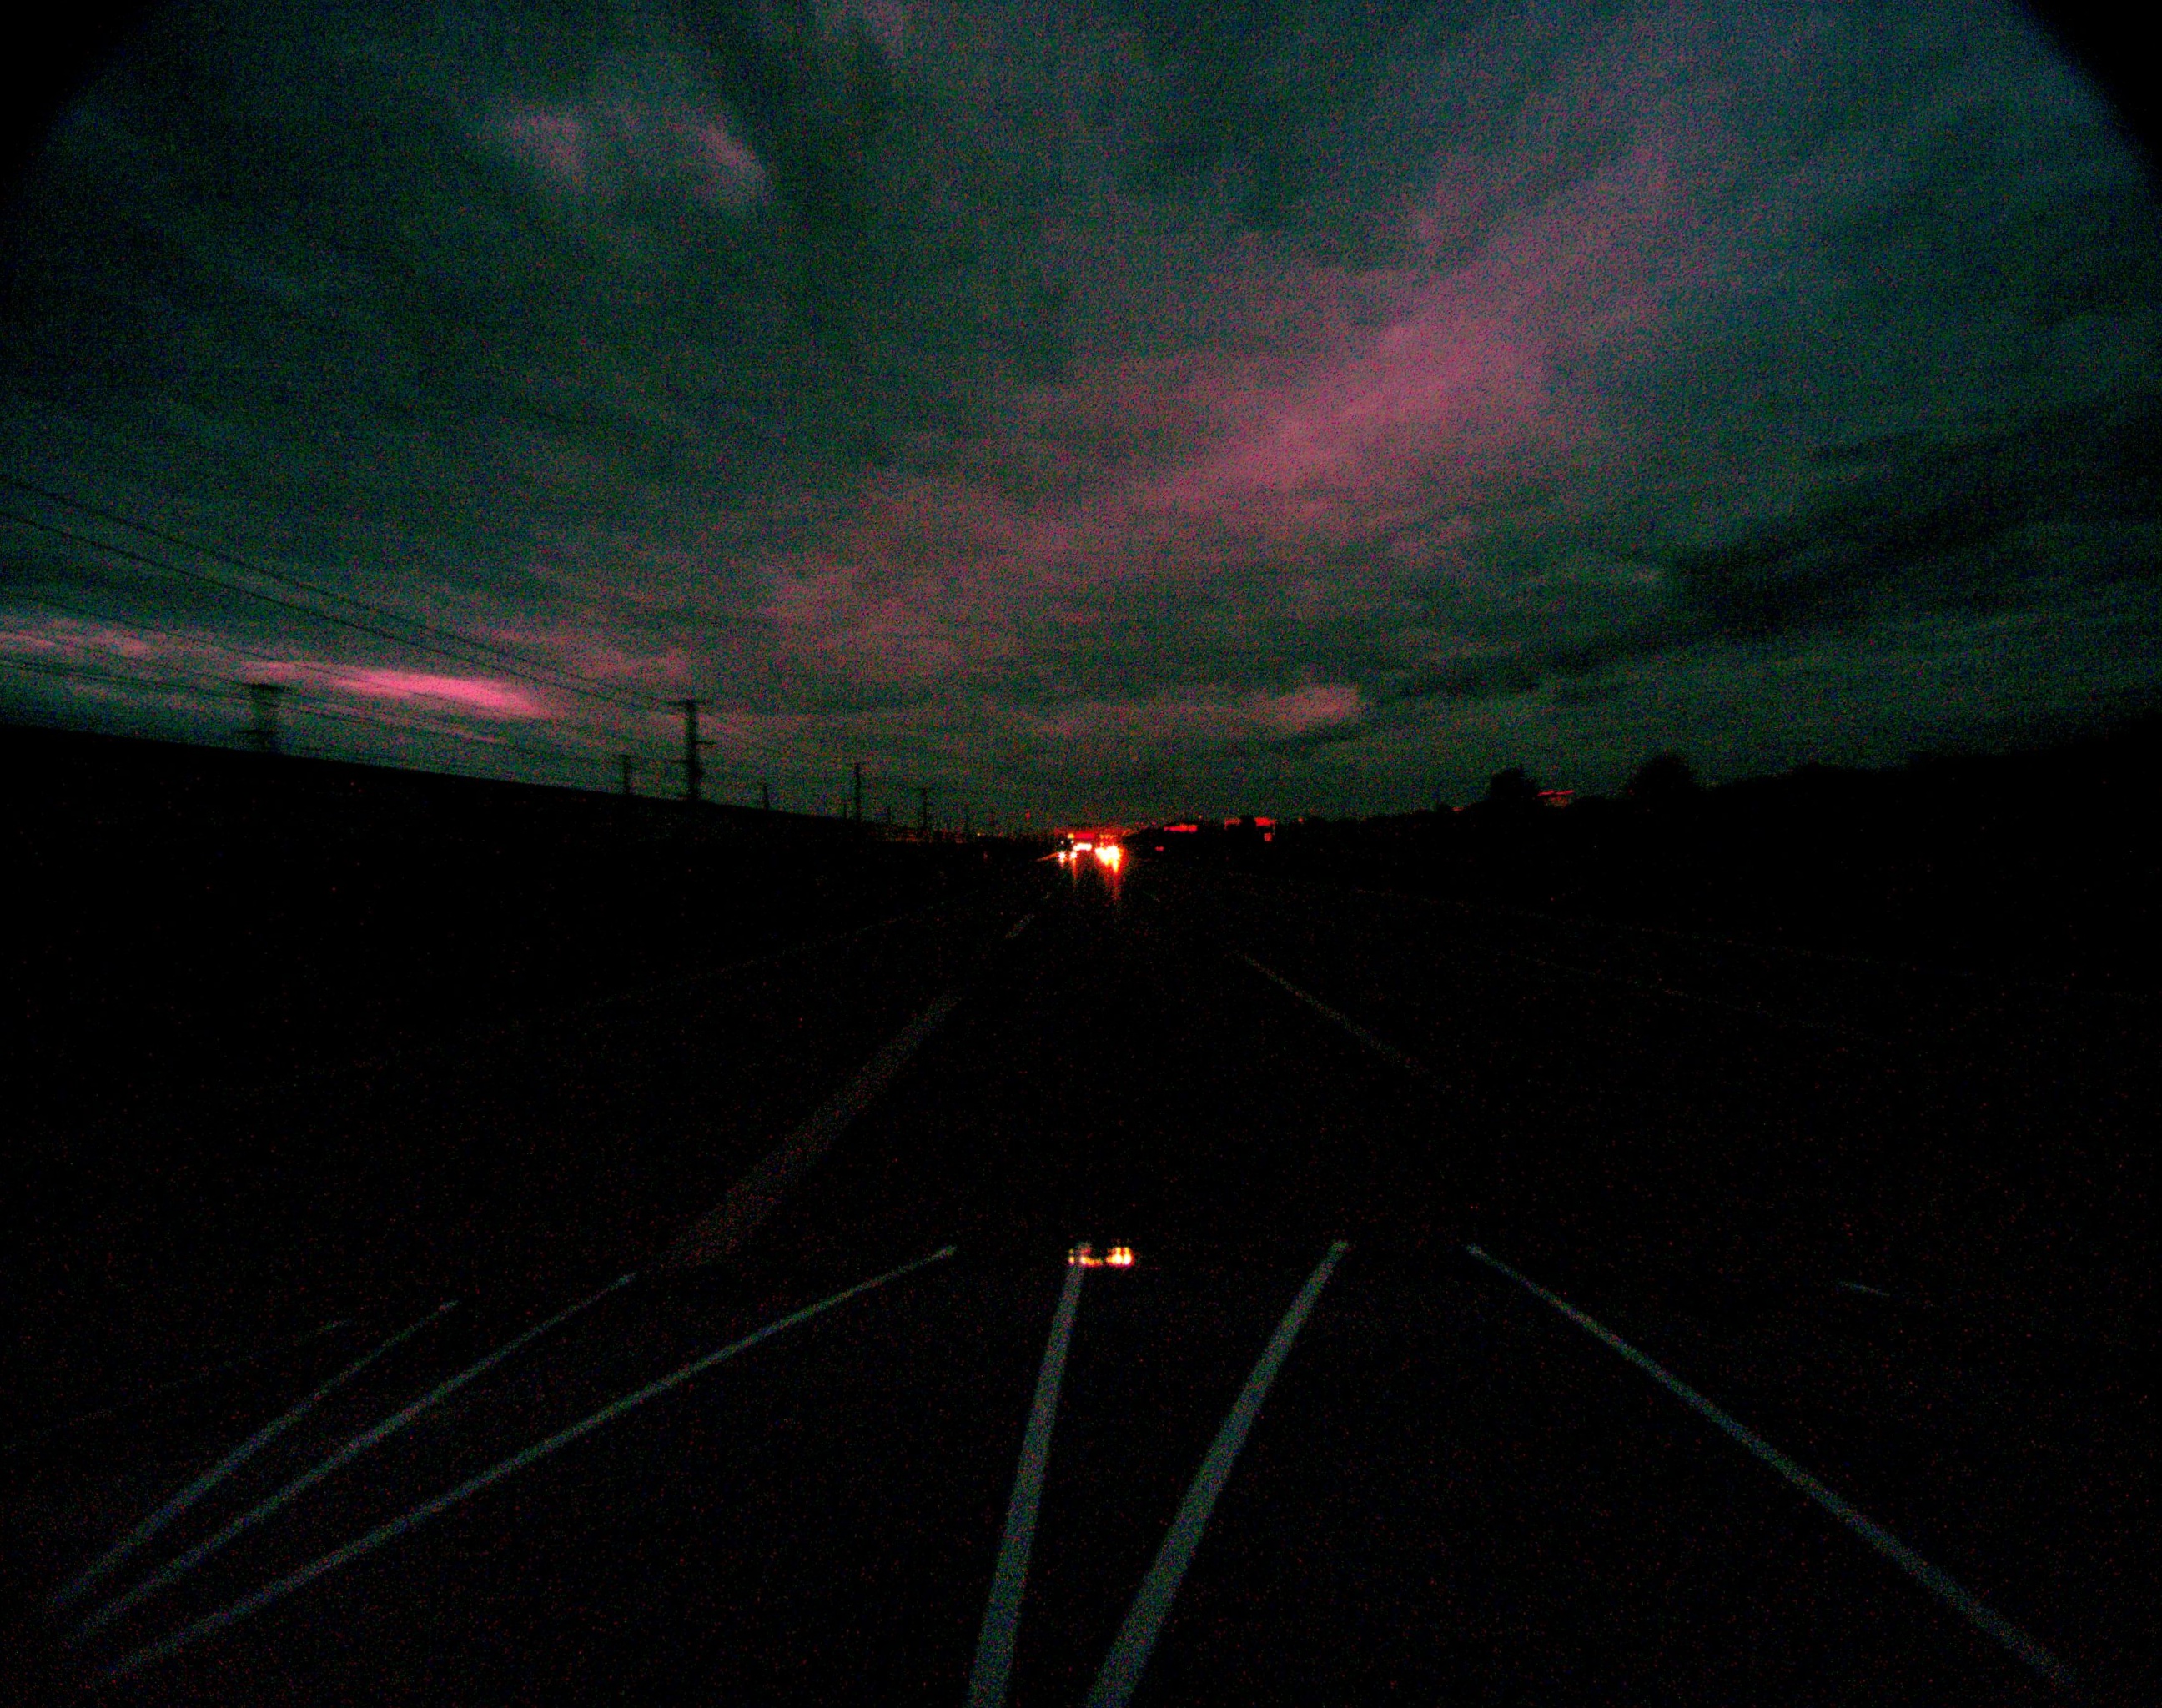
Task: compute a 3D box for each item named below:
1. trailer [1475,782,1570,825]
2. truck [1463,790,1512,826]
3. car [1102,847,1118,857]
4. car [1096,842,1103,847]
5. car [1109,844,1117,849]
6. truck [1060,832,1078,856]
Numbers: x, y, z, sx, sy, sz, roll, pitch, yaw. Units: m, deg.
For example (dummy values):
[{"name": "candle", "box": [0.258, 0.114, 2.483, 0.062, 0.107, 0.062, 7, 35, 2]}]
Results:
[{"name": "trailer", "box": [50.467, -5.644, 87.447, 2.698, 4.048, 12.485, -2, 1, -5]}, {"name": "truck", "box": [49.920, -5.599, 93.478, 2.698, 4.048, 5.474, -2, 1, -5]}, {"name": "car", "box": [4.281, -0.311, 112.433, 1.999, 1.342, 4.174, 3, 1, 0]}, {"name": "car", "box": [5.054, -2.521, 207.351, 1.998, 1.342, 4.175, -2, 1, 1]}, {"name": "car", "box": [8.975, -2.212, 212.000, 1.999, 1.342, 4.174, -2, 1, -1]}, {"name": "truck", "box": [-2.135, -1.830, 142.294, 3.060, 4.047, 10.521, 1, -1, 0]}]
